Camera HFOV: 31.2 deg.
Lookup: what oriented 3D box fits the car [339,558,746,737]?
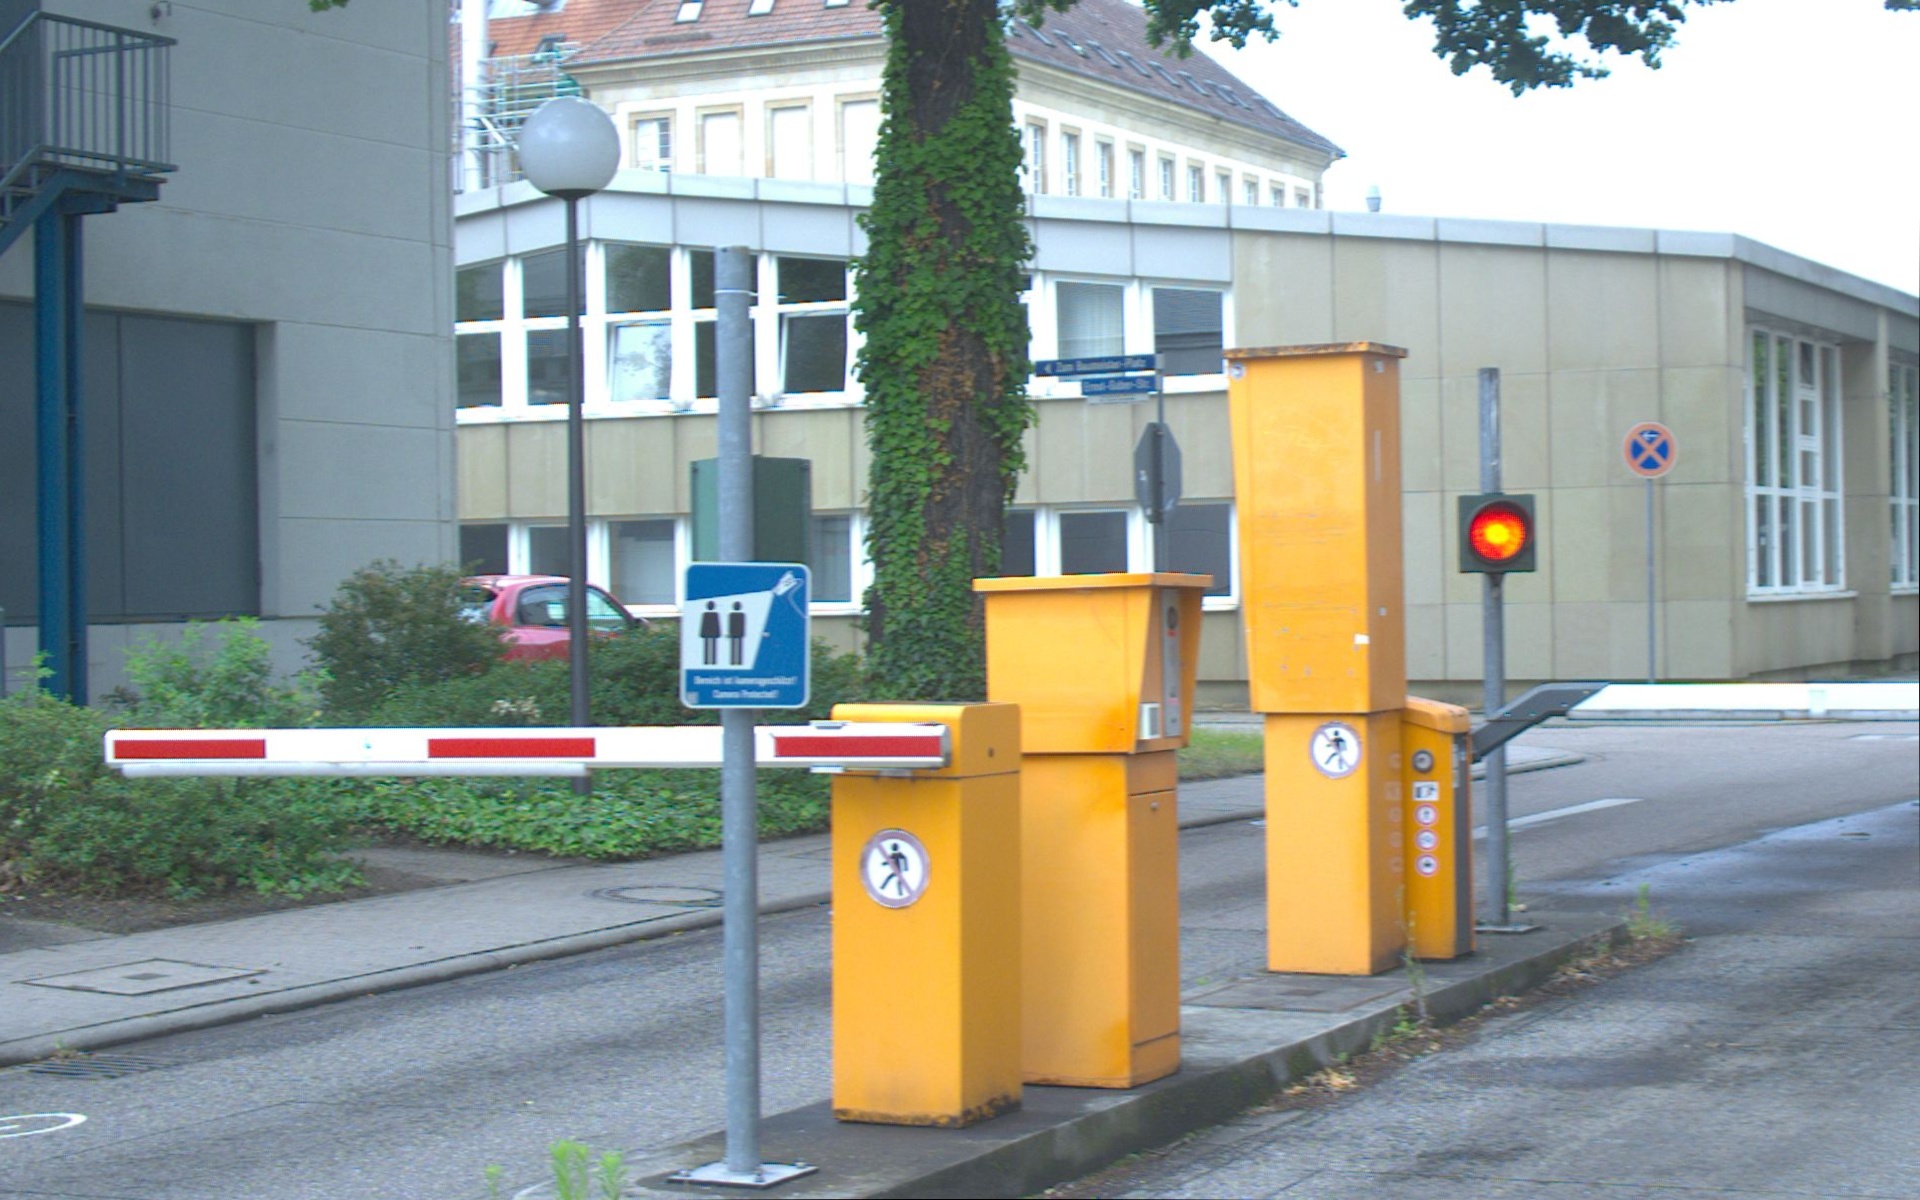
[{"bbox_3d":[-3.787,0.391,31.867,1.865,1.525,3.995,0,1,26],"label":"car"}]
